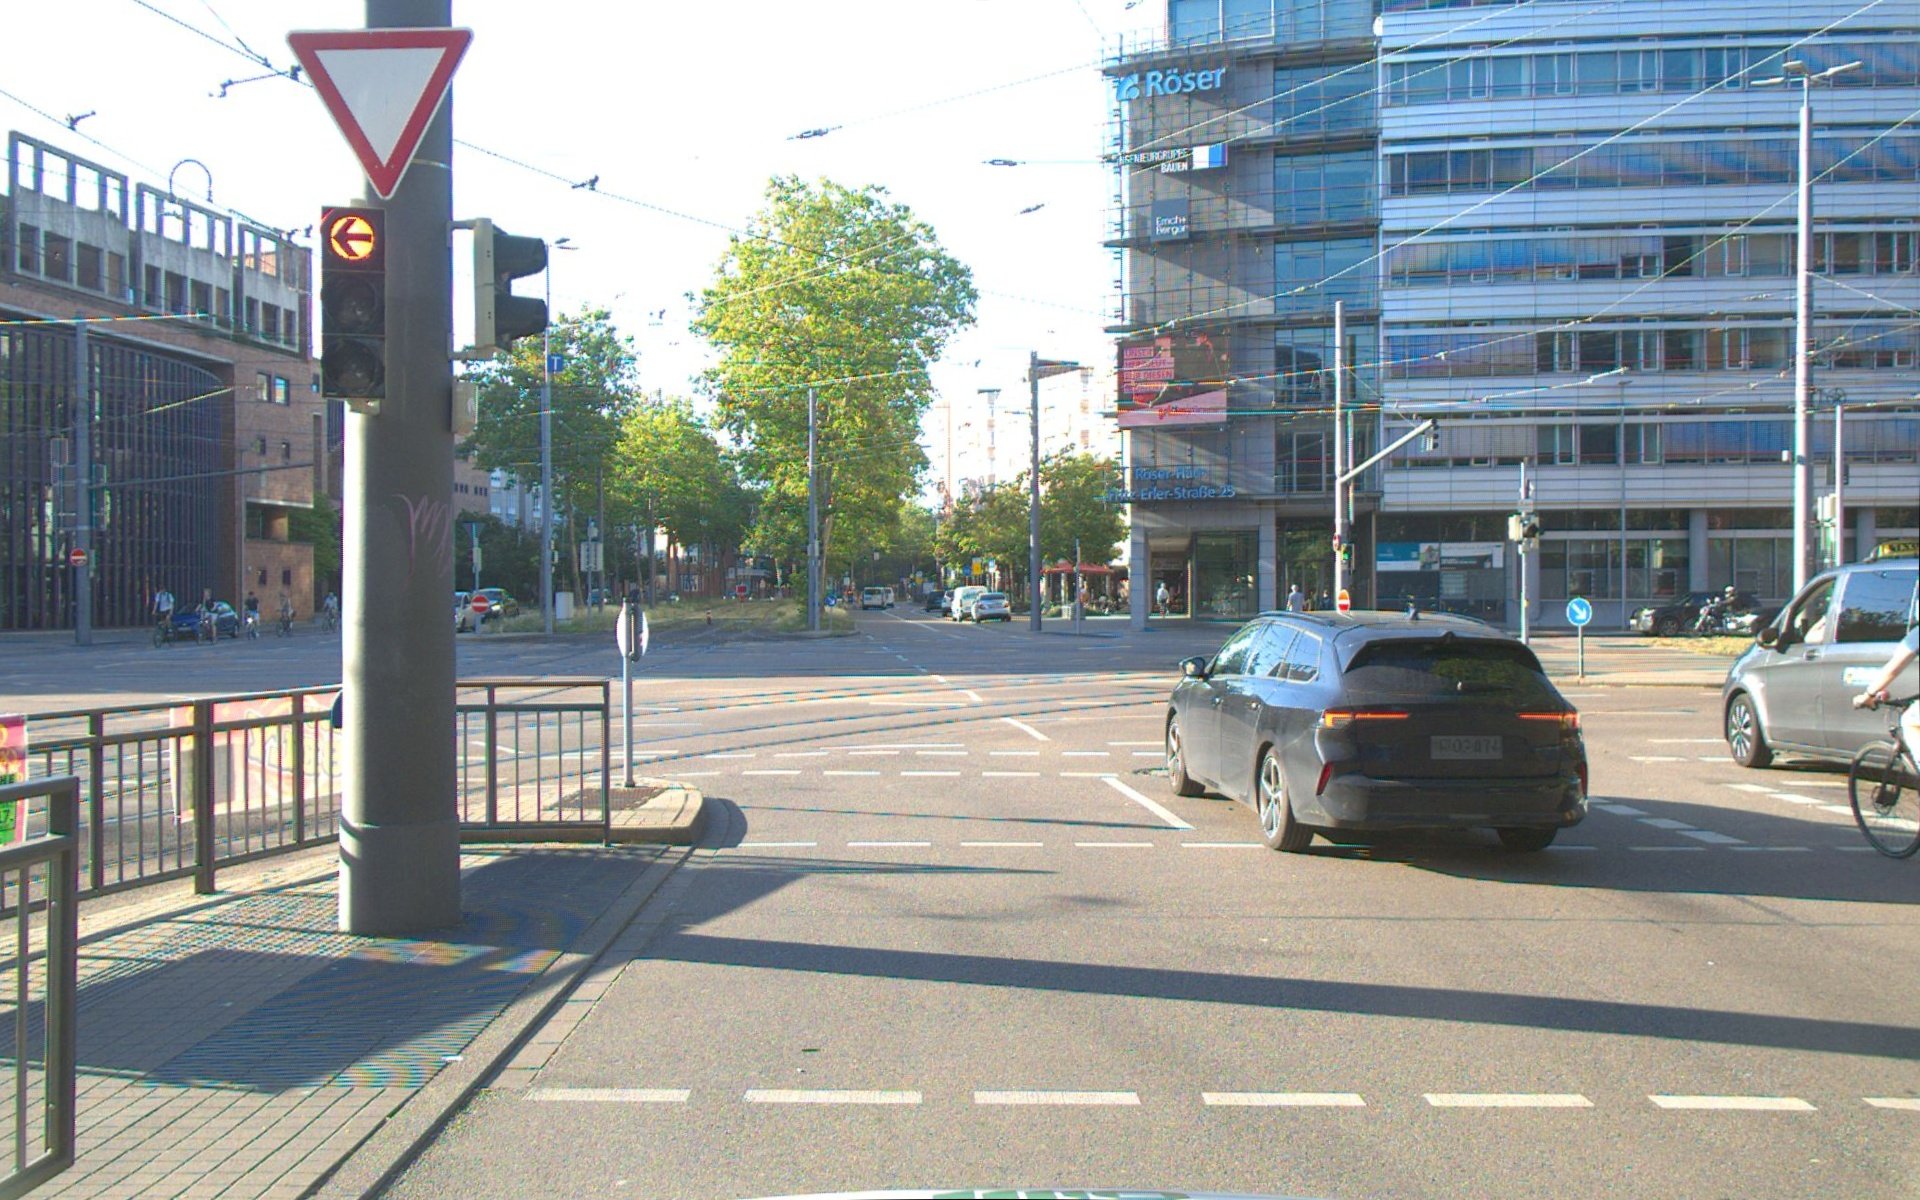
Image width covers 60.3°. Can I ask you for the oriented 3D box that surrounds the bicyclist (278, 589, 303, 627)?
[{"bbox_3d":[-26.966,0.315,66.598,0.640,1.500,1.031,0,0,-6],"label":"bicyclist"}]

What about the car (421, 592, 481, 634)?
[{"bbox_3d":[-20.577,0.502,66.983,1.591,1.604,3.994,-1,0,-7],"label":"car"}]

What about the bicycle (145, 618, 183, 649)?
[{"bbox_3d":[-26.702,1.114,55.514,0.641,1.016,1.897,-1,0,-10],"label":"bicycle"}]

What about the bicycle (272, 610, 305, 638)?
[{"bbox_3d":[-26.921,0.952,66.333,0.639,1.068,2.010,0,0,-6],"label":"bicycle"}]

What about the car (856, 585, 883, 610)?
[{"bbox_3d":[-7.609,-0.212,139.102,1.952,2.049,4.000,1,-1,0],"label":"car"}]

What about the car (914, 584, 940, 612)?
[{"bbox_3d":[-2.515,-0.148,126.580,1.953,2.049,3.999,1,0,-1],"label":"car"}]

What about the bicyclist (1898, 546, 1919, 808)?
[{"bbox_3d":[5.614,0.435,9.146,0.477,1.464,0.615,0,1,-1],"label":"bicyclist"}]

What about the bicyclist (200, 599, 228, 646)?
[{"bbox_3d":[-25.503,0.758,56.565,0.669,1.587,0.757,-1,0,-9],"label":"bicyclist"}]

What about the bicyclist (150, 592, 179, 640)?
[{"bbox_3d":[-26.679,0.523,55.469,0.648,1.602,0.757,-1,0,-10],"label":"bicyclist"}]

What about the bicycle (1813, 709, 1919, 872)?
[{"bbox_3d":[5.598,1.112,9.426,0.481,0.802,1.861,1,1,-1],"label":"bicycle"}]

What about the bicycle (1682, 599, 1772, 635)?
[{"bbox_3d":[23.076,0.502,49.793,2.359,1.040,0.637,-1,0,4],"label":"bicycle"}]

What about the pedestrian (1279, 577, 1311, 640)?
[{"bbox_3d":[11.069,0.269,54.634,0.852,2.049,0.793,1,-1,-1],"label":"pedestrian"}]

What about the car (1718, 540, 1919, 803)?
[{"bbox_3d":[8.065,0.520,13.119,1.959,1.929,4.883,0,0,1],"label":"car"}]

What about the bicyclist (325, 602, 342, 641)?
[{"bbox_3d":[-27.270,0.932,71.990,0.575,1.654,0.514,-1,0,-6],"label":"bicyclist"}]

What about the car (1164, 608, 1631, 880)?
[{"bbox_3d":[2.660,0.795,11.159,1.729,1.429,4.292,0,0,-5],"label":"car"}]

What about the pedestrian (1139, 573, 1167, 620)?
[{"bbox_3d":[9.393,-0.173,80.548,1.285,2.228,1.171,1,-1,5],"label":"pedestrian"}]

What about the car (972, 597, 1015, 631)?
[{"bbox_3d":[1.632,0.684,82.805,1.988,1.624,3.999,1,0,-1],"label":"car"}]

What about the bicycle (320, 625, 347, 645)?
[{"bbox_3d":[-27.269,1.523,72.027,0.578,0.784,1.966,-1,0,-5],"label":"bicycle"}]

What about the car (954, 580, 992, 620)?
[{"bbox_3d":[0.689,0.002,89.639,1.953,2.049,3.999,1,0,-1],"label":"car"}]

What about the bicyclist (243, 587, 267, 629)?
[{"bbox_3d":[-26.772,0.304,62.808,0.648,1.597,0.757,-1,0,-8],"label":"bicyclist"}]

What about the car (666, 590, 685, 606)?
[{"bbox_3d":[-29.370,-0.163,170.932,1.644,1.635,3.994,1,0,-7],"label":"car"}]

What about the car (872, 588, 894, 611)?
[{"bbox_3d":[-7.286,-0.030,156.843,1.953,2.049,3.998,1,0,-2],"label":"car"}]

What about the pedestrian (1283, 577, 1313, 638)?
[{"bbox_3d":[11.461,0.242,56.030,0.832,2.049,0.707,1,-1,-2],"label":"pedestrian"}]

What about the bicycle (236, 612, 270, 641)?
[{"bbox_3d":[-26.714,0.995,62.514,0.680,1.016,1.898,-1,0,-8],"label":"bicycle"}]

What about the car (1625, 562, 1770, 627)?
[{"bbox_3d":[24.326,-0.170,54.628,3.906,2.049,2.000,1,0,-1],"label":"car"}]

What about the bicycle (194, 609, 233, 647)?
[{"bbox_3d":[-25.485,0.943,56.501,0.672,1.162,2.107,-1,2,-9],"label":"bicycle"}]

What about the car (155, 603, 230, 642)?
[{"bbox_3d":[-29.941,0.855,64.616,1.551,1.400,3.710,-1,0,-7],"label":"car"}]
